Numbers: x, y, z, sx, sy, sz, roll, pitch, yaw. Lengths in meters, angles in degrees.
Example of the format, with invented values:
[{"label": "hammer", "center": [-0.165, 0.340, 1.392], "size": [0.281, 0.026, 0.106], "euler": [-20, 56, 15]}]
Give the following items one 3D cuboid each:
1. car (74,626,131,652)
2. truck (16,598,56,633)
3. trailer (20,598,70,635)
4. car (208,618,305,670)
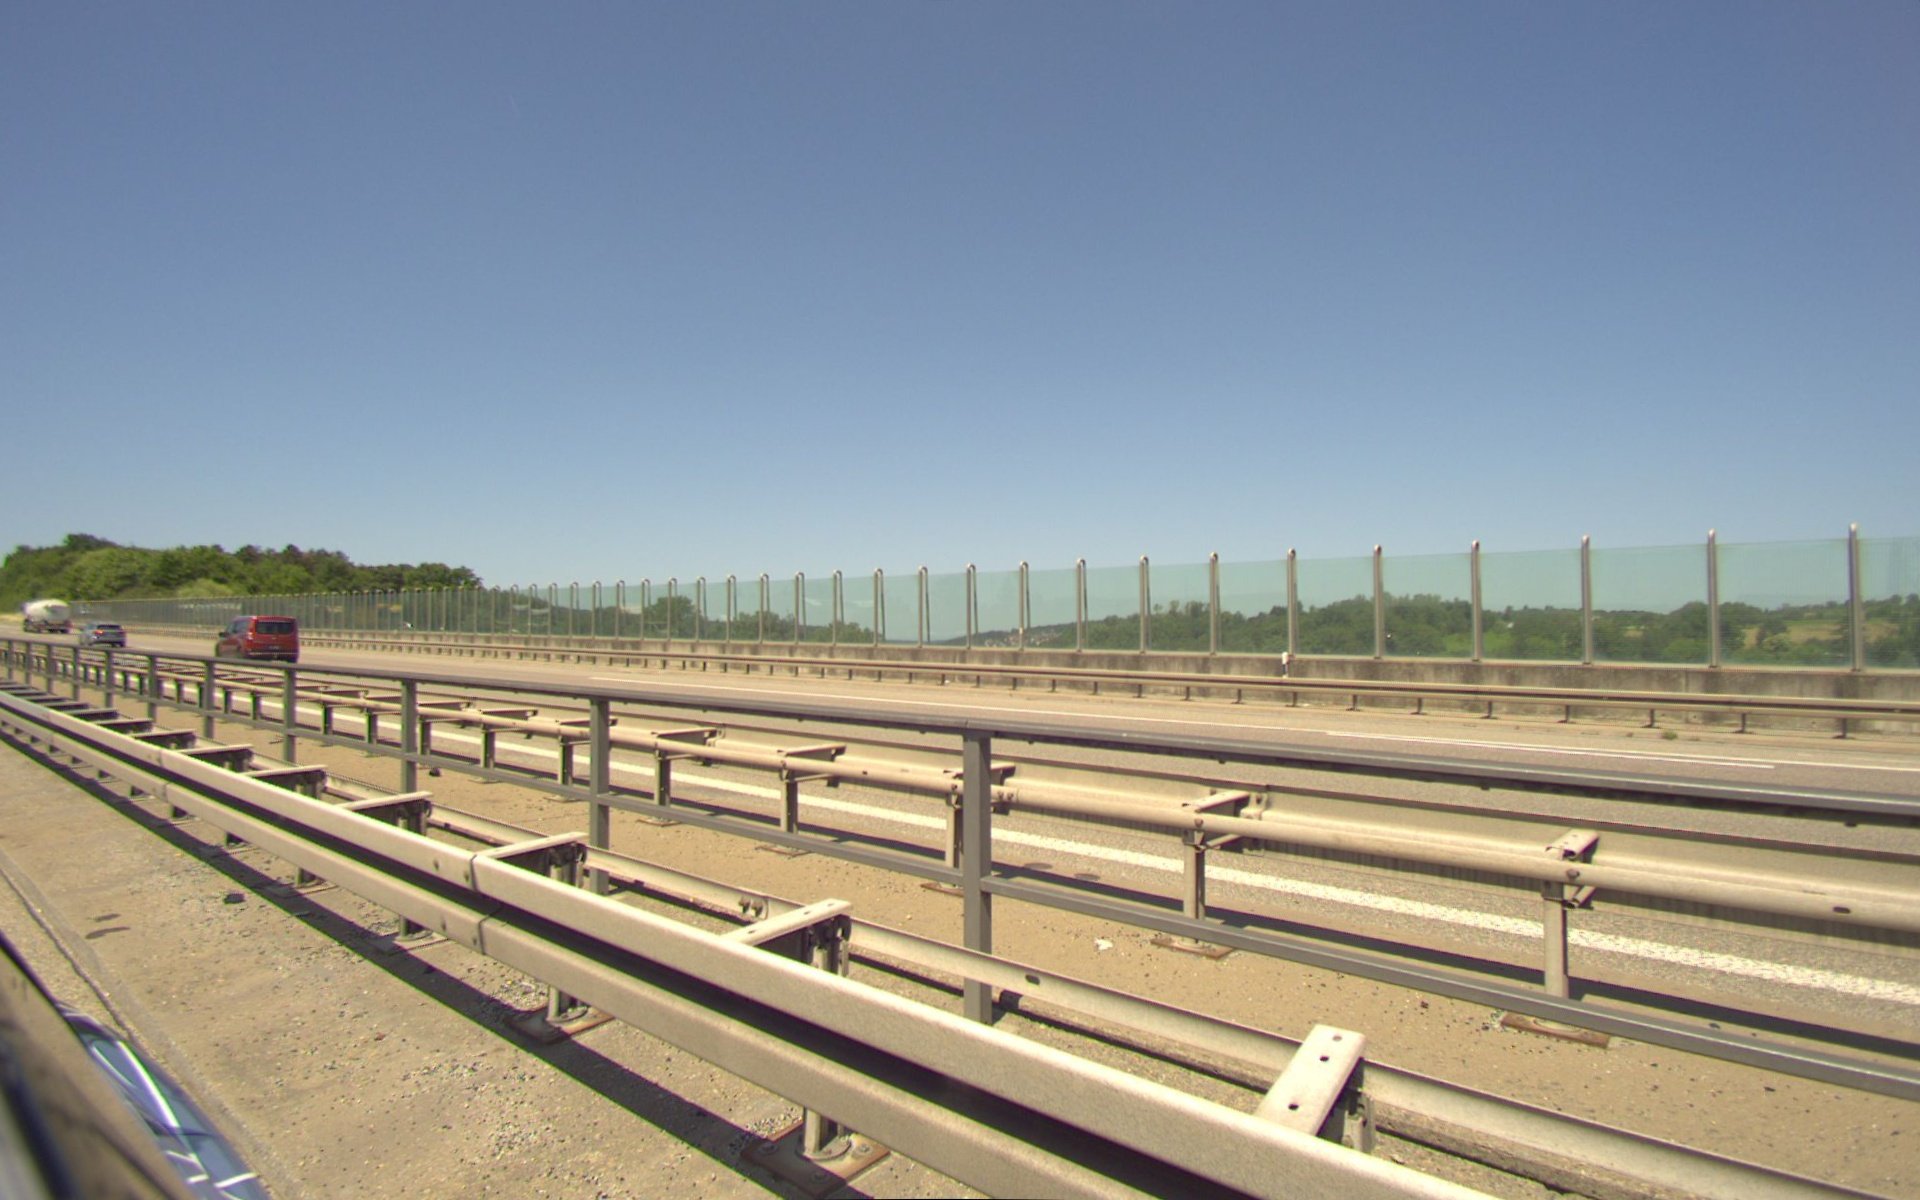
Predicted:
[{"label": "car", "center": [-50.719, 2.276, 59.847], "size": [4.382, 1.453, 1.852], "euler": [-1, -3, 40]}, {"label": "truck", "center": [-97.556, 1.673, 106.825], "size": [5.328, 3.562, 2.494], "euler": [-1, -2, 42]}, {"label": "trailer", "center": [-93.420, 1.674, 103.209], "size": [10.898, 3.567, 2.472], "euler": [-1, -2, 41]}, {"label": "car", "center": [-26.645, 1.613, 38.271], "size": [4.744, 1.836, 1.821], "euler": [0, -2, 40]}]
